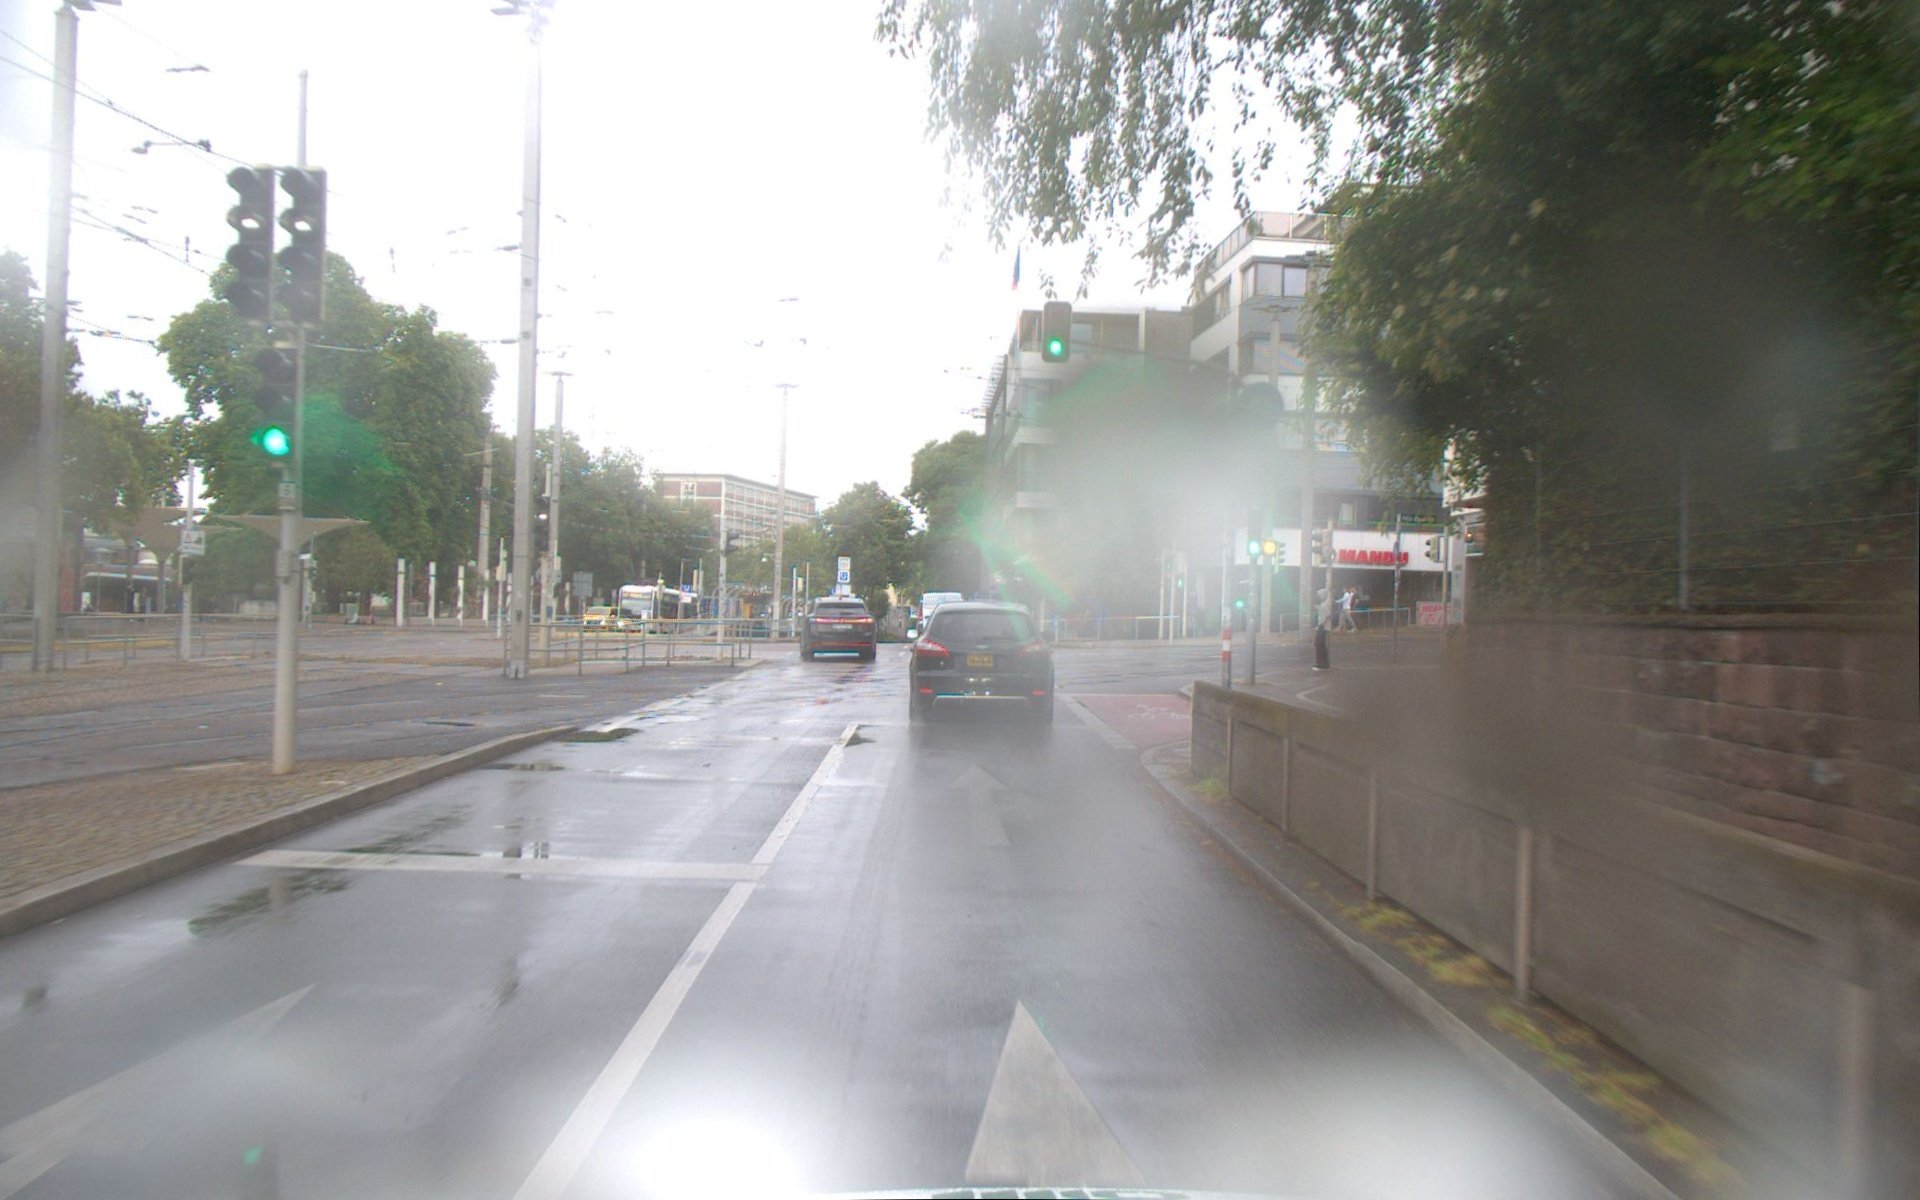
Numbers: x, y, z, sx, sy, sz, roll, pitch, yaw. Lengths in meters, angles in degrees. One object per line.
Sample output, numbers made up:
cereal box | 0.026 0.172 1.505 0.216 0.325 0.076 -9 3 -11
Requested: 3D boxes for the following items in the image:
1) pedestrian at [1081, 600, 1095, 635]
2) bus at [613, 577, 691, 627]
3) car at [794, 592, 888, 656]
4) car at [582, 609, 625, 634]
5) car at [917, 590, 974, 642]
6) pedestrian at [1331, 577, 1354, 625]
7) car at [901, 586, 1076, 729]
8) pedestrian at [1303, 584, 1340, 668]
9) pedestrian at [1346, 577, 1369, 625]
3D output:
pedestrian | 5.849 0.811 75.768 0.530 1.590 0.521 0 -1 19
bus | -21.772 0.190 117.827 3.013 3.358 12.523 0 -1 1
car | -3.111 0.597 42.356 2.060 1.532 4.722 0 -1 -9
car | -24.468 1.488 113.564 1.953 1.674 4.536 0 -1 0
car | -0.498 0.587 62.751 1.994 1.872 4.392 1 0 1
pedestrian | 15.670 0.044 67.727 0.705 1.947 0.695 -1 -1 37
car | 0.312 0.677 21.409 1.994 1.612 4.391 1 0 -1
pedestrian | 7.627 0.540 34.866 0.518 1.742 0.703 -1 -1 37
pedestrian | 16.439 0.045 68.419 0.705 1.947 0.695 -1 -1 37
